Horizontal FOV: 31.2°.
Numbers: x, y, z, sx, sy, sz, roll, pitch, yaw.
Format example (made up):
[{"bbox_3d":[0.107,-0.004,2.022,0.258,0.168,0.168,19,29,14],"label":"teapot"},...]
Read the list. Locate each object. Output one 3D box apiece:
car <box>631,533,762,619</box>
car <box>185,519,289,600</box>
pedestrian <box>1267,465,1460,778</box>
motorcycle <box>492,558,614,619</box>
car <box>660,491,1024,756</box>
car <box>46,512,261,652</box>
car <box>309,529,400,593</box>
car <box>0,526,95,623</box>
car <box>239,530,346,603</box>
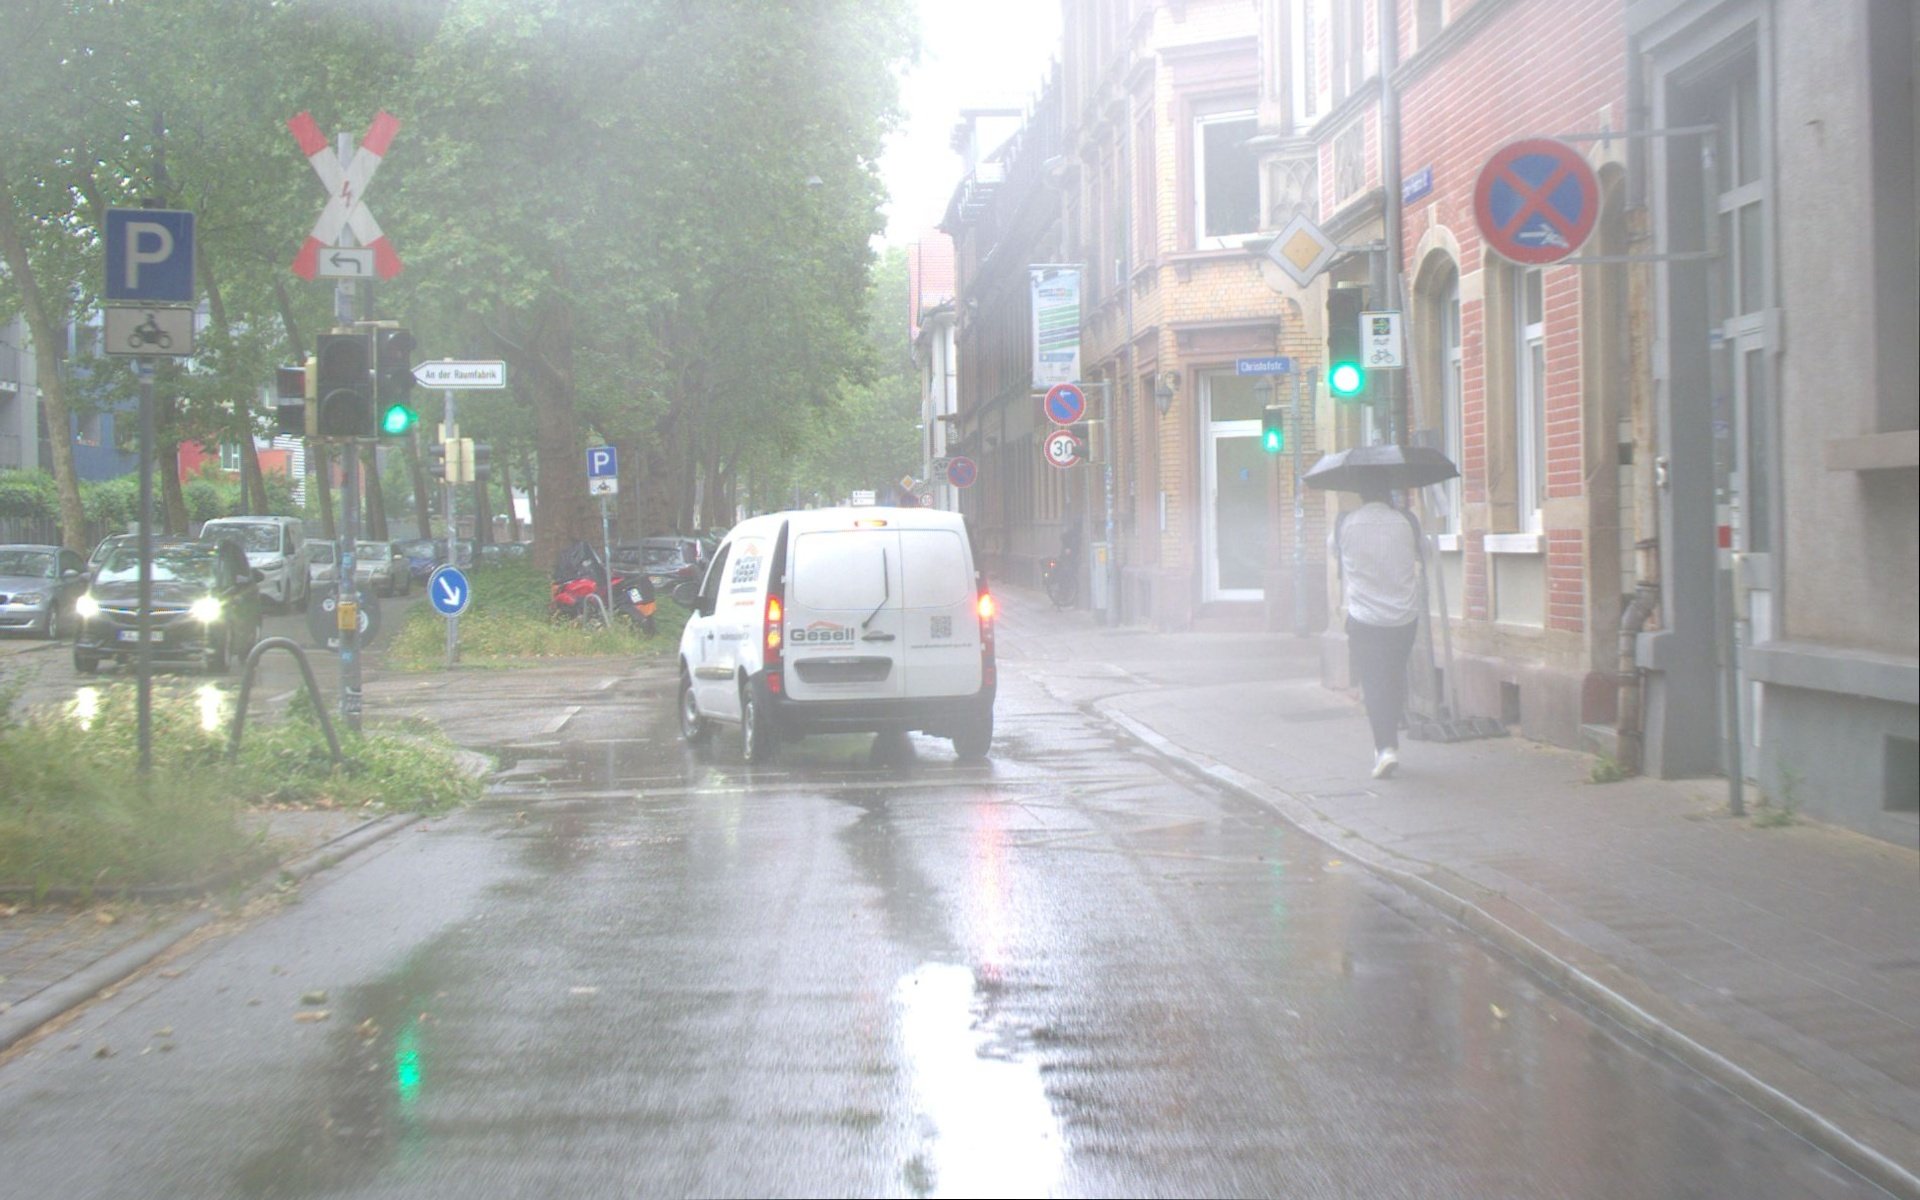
[{"bbox_3d":[-4.533,-0.439,59.588,1.993,1.382,4.000,-1,1,-1],"label":"car"},{"bbox_3d":[-14.683,-0.850,69.979,1.993,1.575,4.001,-1,1,-11],"label":"car"},{"bbox_3d":[2.331,0.110,19.992,0.840,1.710,1.108,-4,1,-1],"label":"pedestrian"},{"bbox_3d":[-6.035,-0.174,51.021,1.706,0.862,0.577,-1,1,3],"label":"motorcycle"},{"bbox_3d":[-0.973,0.165,25.633,1.903,1.791,4.114,-1,0,-13],"label":"car"},{"bbox_3d":[-9.844,-0.253,42.252,1.997,1.607,4.124,-1,1,-5],"label":"car"},{"bbox_3d":[-15.836,-1.043,90.043,1.997,1.607,4.124,-1,1,-5],"label":"car"},{"bbox_3d":[-14.377,-0.408,52.257,1.993,1.410,4.001,-1,1,-9],"label":"car"},{"bbox_3d":[-15.456,-0.800,79.748,1.997,1.607,4.124,-1,1,-5],"label":"car"}]
